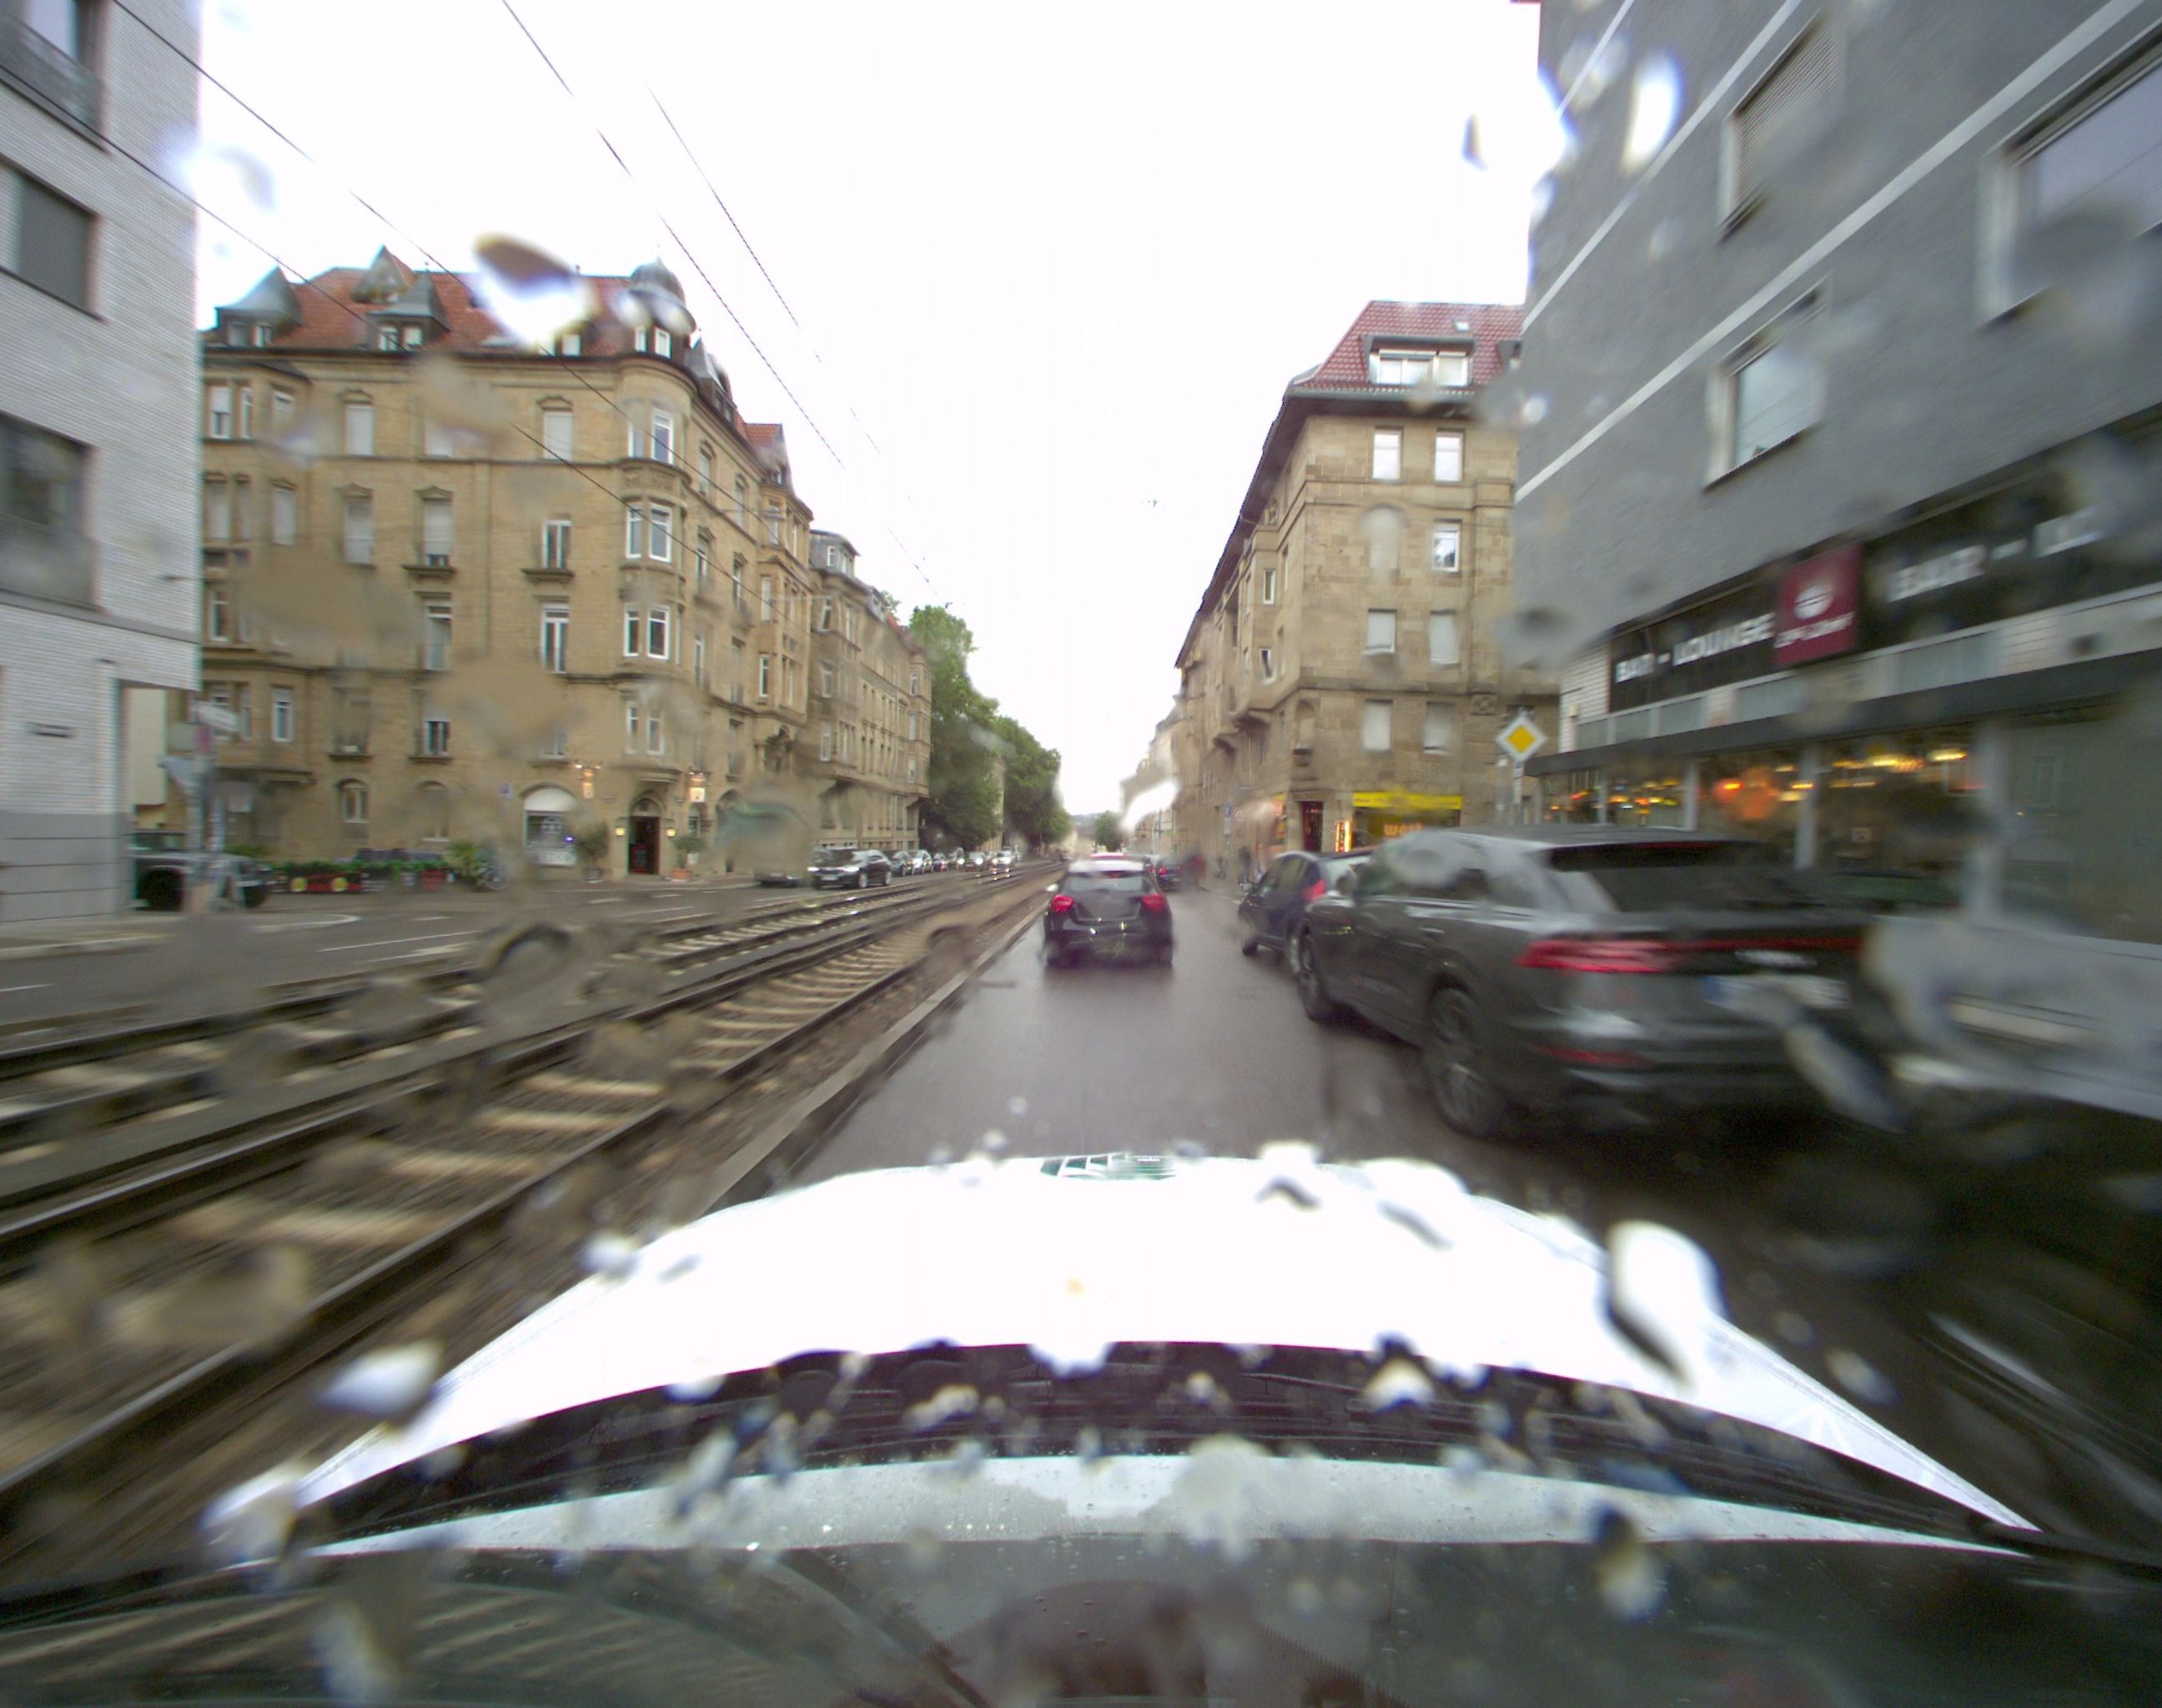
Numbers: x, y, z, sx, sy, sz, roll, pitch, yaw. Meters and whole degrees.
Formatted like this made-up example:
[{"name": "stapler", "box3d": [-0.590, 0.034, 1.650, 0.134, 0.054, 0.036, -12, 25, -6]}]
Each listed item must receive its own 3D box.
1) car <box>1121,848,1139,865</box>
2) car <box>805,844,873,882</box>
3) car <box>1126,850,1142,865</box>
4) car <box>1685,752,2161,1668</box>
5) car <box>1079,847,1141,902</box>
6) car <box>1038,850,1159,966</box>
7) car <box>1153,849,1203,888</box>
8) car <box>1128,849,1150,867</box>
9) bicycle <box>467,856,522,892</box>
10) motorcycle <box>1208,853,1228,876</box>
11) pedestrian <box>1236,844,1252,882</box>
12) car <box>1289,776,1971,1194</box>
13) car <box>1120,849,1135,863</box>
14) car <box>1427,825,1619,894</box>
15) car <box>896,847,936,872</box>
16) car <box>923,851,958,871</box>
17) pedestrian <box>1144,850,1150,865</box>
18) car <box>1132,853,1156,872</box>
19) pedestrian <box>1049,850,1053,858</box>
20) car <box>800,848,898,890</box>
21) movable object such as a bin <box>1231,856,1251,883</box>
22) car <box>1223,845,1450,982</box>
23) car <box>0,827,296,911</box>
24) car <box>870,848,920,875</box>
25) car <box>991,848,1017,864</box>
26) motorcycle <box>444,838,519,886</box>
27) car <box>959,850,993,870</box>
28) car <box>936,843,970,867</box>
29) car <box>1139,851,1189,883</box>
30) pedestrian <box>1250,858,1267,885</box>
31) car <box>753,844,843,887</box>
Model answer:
[{"name": "car", "box3d": [5.341, 0.236, 89.044, 1.784, 1.765, 4.213, -1, 0, 1]}, {"name": "car", "box3d": [-11.228, 0.395, 38.070, 1.852, 1.652, 4.315, 0, 0, 0]}, {"name": "car", "box3d": [5.457, 0.366, 84.793, 1.564, 1.462, 3.601, 0, 0, 2]}, {"name": "car", "box3d": [2.818, 0.627, 0.481, 1.811, 1.654, 4.252, -1, 0, 1]}, {"name": "car", "box3d": [0.891, 0.575, 25.251, 1.778, 1.581, 4.002, 0, 0, 2]}, {"name": "car", "box3d": [0.270, 0.694, 12.370, 1.574, 1.505, 3.575, 0, 0, 1]}, {"name": "car", "box3d": [3.810, 0.549, 32.600, 1.664, 1.444, 3.792, -1, 0, 2]}, {"name": "car", "box3d": [4.830, 0.339, 68.157, 1.662, 1.434, 3.956, -1, 0, 0]}, {"name": "bicycle", "box3d": [-19.161, 0.649, 26.586, 2.109, 1.119, 0.624, -1, 0, 30]}, {"name": "motorcycle", "box3d": [7.489, 0.555, 44.528, 0.702, 1.199, 2.747, 0, 0, 2]}, {"name": "pedestrian", "box3d": [6.636, 0.368, 33.174, 0.559, 1.535, 0.710, 0, 0, 1]}, {"name": "car", "box3d": [2.902, 0.545, 5.722, 1.786, 1.760, 4.567, 0, 0, 1]}, {"name": "car", "box3d": [5.892, 0.208, 104.113, 1.822, 1.750, 4.468, 0, 0, 1]}, {"name": "car", "box3d": [13.399, 0.159, 24.904, 4.761, 1.861, 2.000, -2, 0, 0]}, {"name": "car", "box3d": [-10.709, 0.332, 53.135, 1.688, 1.524, 3.857, -1, 0, 2]}, {"name": "car", "box3d": [-10.127, 0.462, 59.068, 1.756, 1.398, 4.270, -1, 0, 1]}, {"name": "pedestrian", "box3d": [7.807, 0.386, 96.713, 0.605, 1.763, 0.688, -1, 0, 1]}, {"name": "car", "box3d": [4.840, 0.613, 62.931, 1.585, 1.434, 3.683, 0, 0, 0]}, {"name": "pedestrian", "box3d": [-5.757, -0.022, 156.891, 0.803, 1.633, 0.892, -1, 0, 2]}, {"name": "car", "box3d": [-8.699, 0.505, 31.083, 2.079, 1.457, 4.864, -1, 0, 3]}, {"name": "movable object such as a bin", "box3d": [6.699, 0.622, 34.125, 0.662, 1.103, 1.124, 1, 0, 1]}, {"name": "car", "box3d": [3.202, 0.653, 11.061, 1.687, 1.482, 3.926, -1, 0, -3]}, {"name": "car", "box3d": [-20.798, 0.313, 18.059, 4.679, 1.728, 2.034, 0, 0, -2]}, {"name": "car", "box3d": [-10.903, 0.420, 47.953, 1.863, 1.508, 4.171, 0, 0, 1]}, {"name": "car", "box3d": [-7.002, 0.156, 74.367, 1.975, 1.457, 4.294, 0, 0, 0]}, {"name": "motorcycle", "box3d": [-20.856, 0.277, 28.350, 2.069, 1.619, 0.623, -1, 0, -1]}, {"name": "car", "box3d": [-7.509, 0.396, 58.496, 1.697, 1.387, 3.786, 0, 0, 4]}, {"name": "car", "box3d": [-10.241, 0.046, 65.487, 1.794, 1.846, 4.820, -1, 0, 2]}, {"name": "car", "box3d": [3.806, 0.554, 38.159, 1.750, 1.387, 4.482, -1, 0, -2]}, {"name": "pedestrian", "box3d": [6.833, 0.667, 31.352, 0.509, 1.050, 0.627, 0, 0, 1]}, {"name": "car", "box3d": [-11.323, 0.420, 32.974, 1.850, 1.602, 4.434, 0, 0, 3]}]
